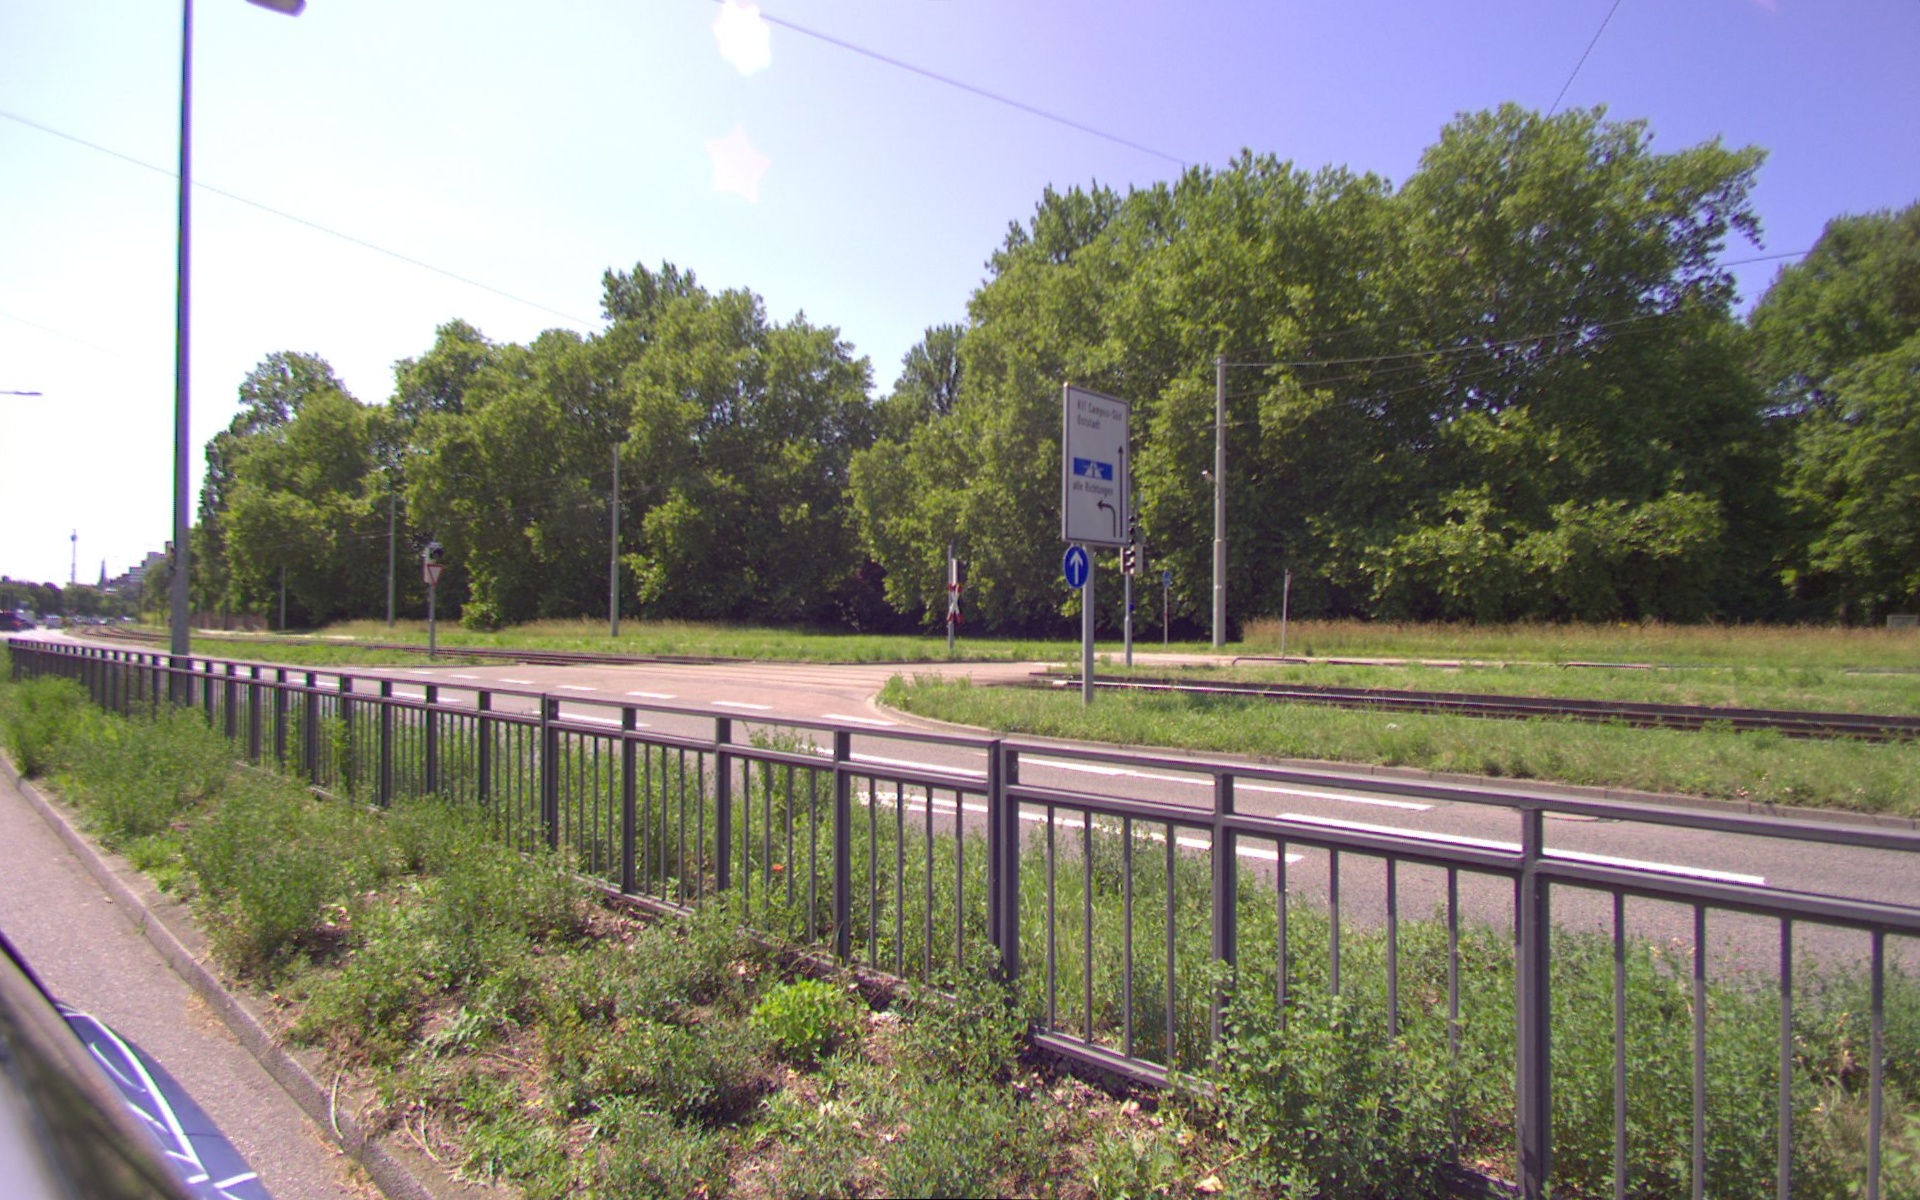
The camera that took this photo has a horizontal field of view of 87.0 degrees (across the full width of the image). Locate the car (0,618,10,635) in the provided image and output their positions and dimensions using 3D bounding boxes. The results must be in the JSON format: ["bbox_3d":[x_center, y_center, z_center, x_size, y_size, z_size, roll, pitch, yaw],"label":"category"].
[{"bbox_3d":[-107.856,3.014,113.409,1.970,1.871,4.004,1,-2,-43],"label":"car"}]

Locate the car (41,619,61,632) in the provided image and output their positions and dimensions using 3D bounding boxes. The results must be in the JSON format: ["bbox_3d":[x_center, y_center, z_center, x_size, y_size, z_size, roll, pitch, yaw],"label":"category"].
[{"bbox_3d":[-136.534,3.859,151.996,1.970,1.871,4.003,1,-2,-44],"label":"car"}]
